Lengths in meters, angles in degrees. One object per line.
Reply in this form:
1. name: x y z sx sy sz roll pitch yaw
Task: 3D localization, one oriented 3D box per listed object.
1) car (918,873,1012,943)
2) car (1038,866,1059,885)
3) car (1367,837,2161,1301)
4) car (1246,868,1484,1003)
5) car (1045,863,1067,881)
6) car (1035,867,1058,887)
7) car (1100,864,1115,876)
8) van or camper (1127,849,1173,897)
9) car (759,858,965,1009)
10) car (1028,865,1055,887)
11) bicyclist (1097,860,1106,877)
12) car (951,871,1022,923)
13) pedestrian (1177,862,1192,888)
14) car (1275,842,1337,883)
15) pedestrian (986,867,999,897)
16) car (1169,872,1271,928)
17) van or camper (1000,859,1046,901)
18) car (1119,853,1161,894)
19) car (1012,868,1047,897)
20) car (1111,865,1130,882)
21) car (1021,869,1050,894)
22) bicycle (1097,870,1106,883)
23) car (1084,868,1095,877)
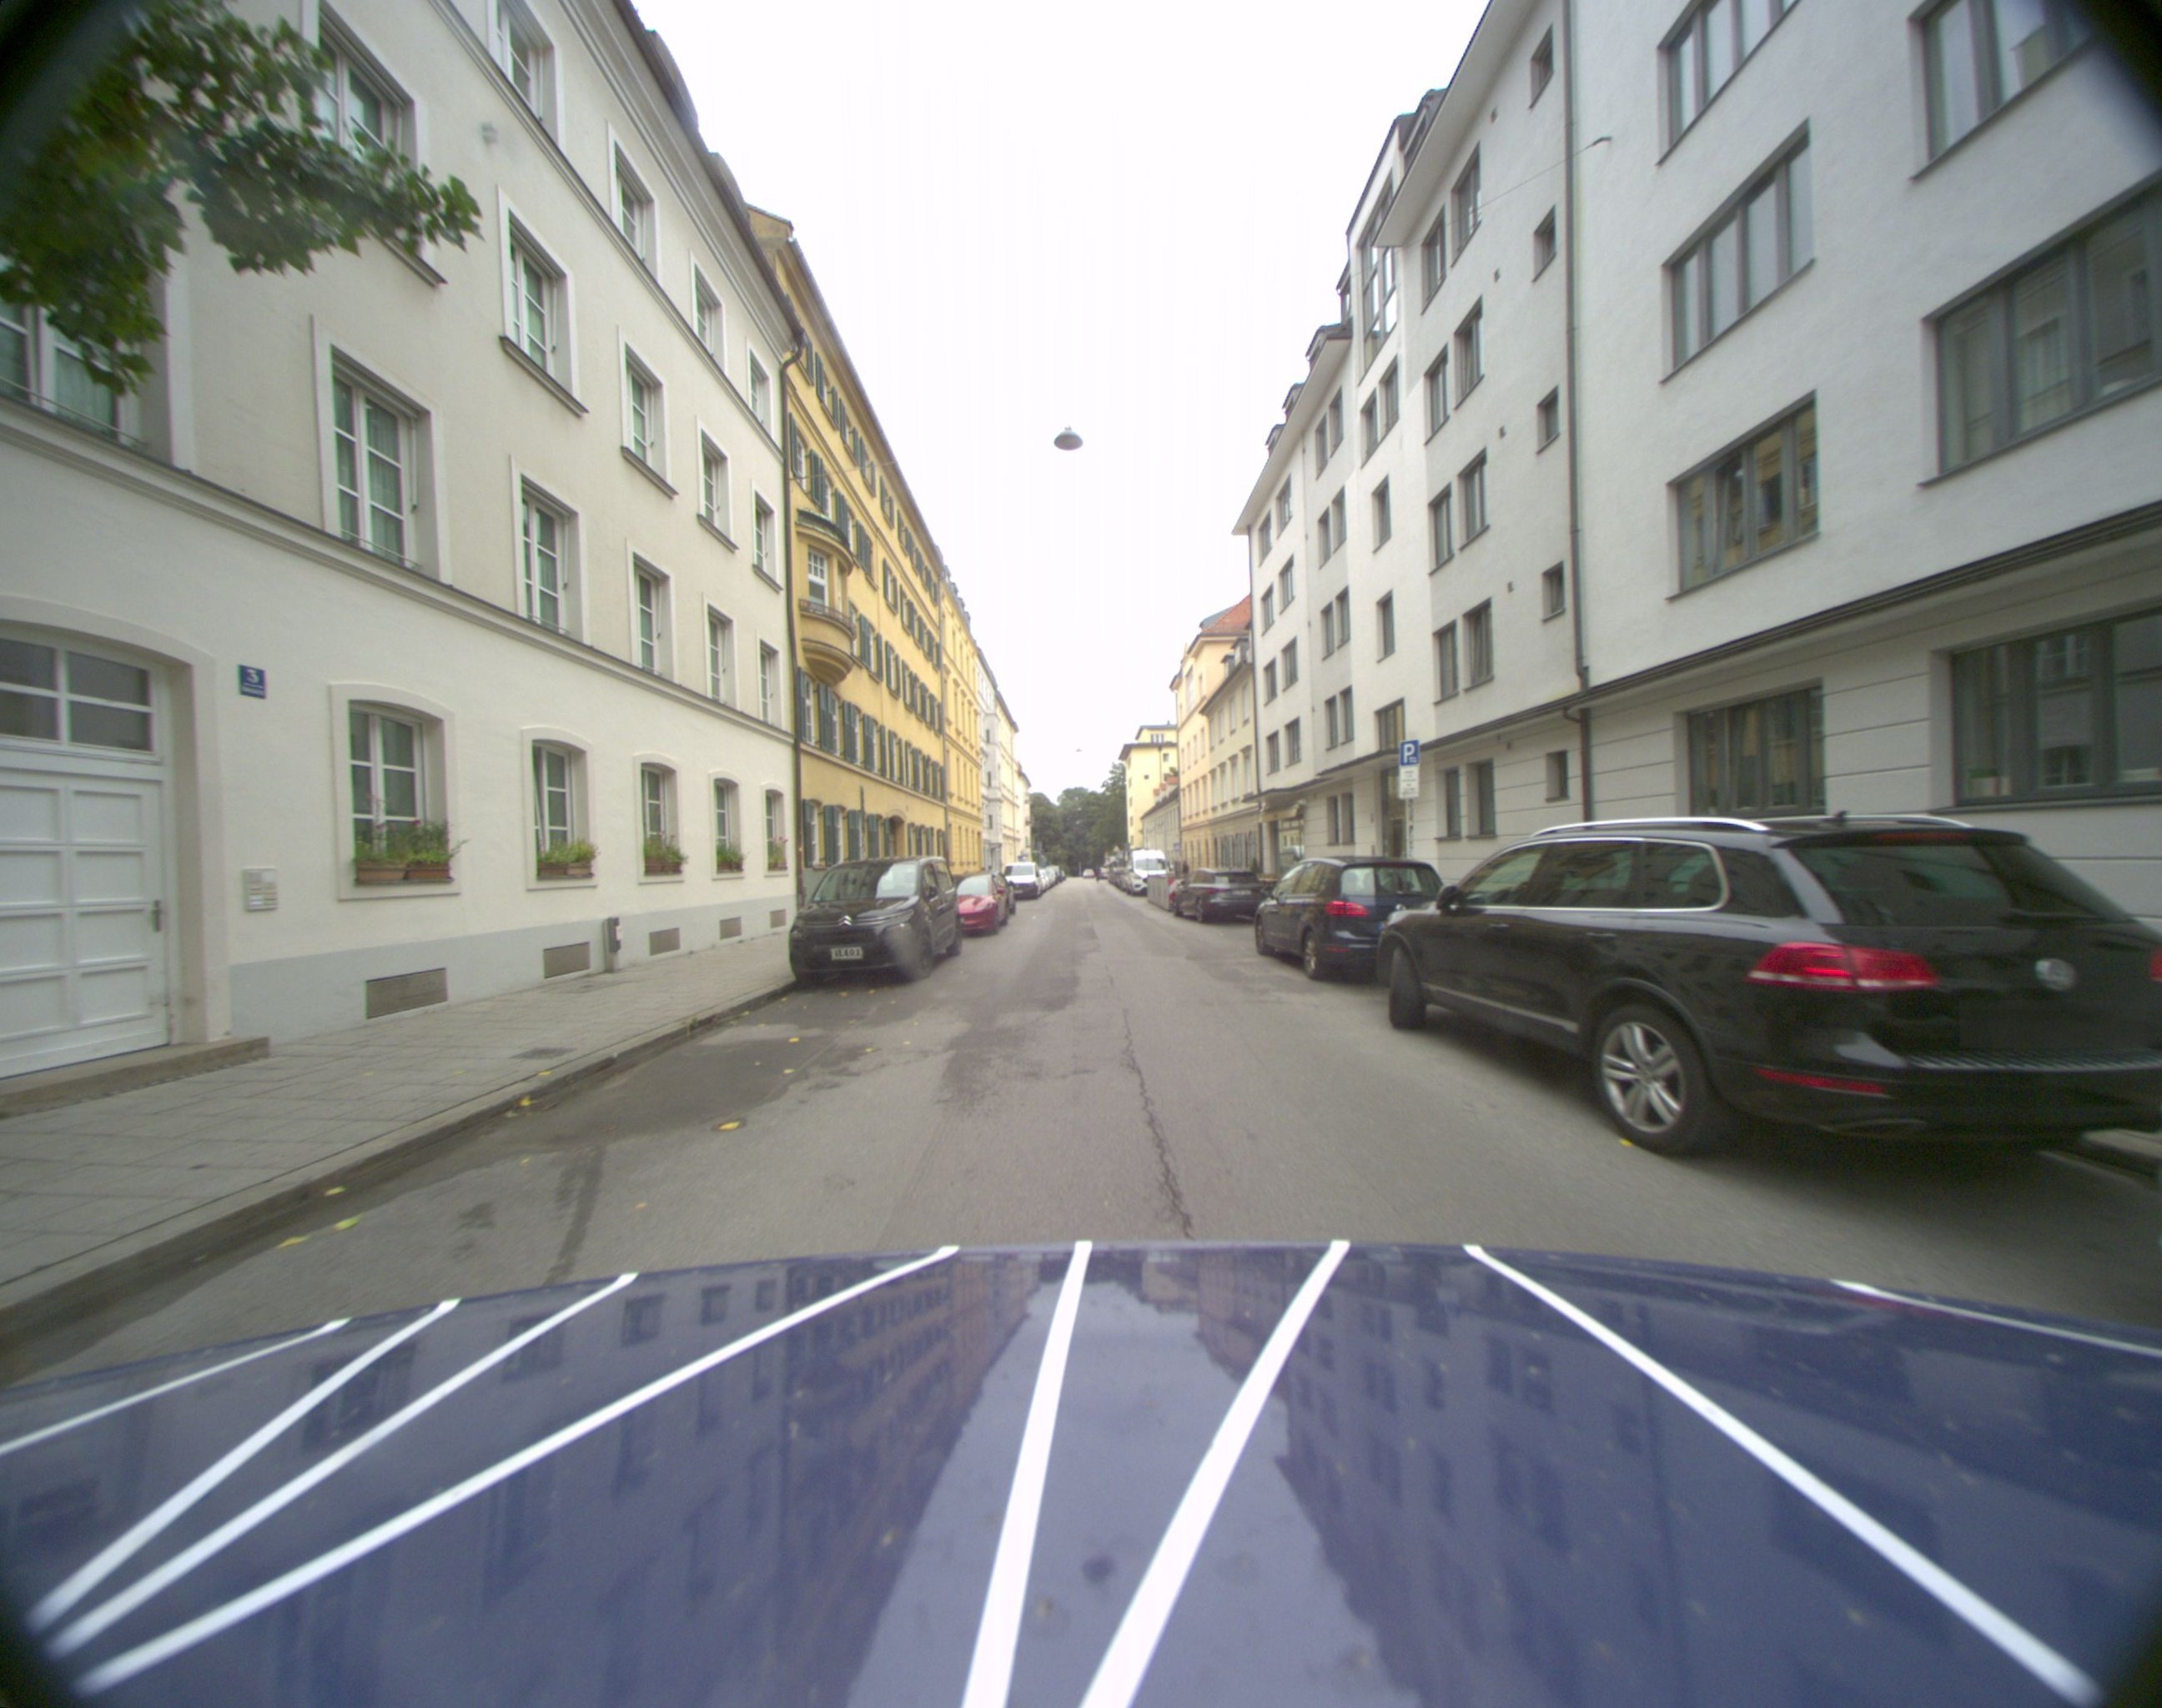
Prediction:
1. car: -2.747 1.240 18.934 1.718 1.415 4.457 -2 0 -1
2. car: -2.855 1.867 67.653 1.721 1.591 4.322 -1 0 -1
3. car: 3.702 0.820 5.039 1.877 1.678 4.520 0 -1 -1
4. car: 3.689 0.968 10.744 1.778 1.530 4.159 0 -1 -1
5. car: -2.727 1.999 84.009 1.998 1.849 5.115 -2 -1 2
6. car: -2.765 1.862 61.515 1.721 1.501 3.936 -2 -1 -1
7. car: 3.347 1.984 95.909 1.711 1.490 4.000 -2 -1 0
8. van or camper: 3.501 0.933 39.320 1.998 2.297 5.479 -1 0 1
9. car: -3.086 1.017 11.712 1.851 1.766 4.201 -4 0 0
10. car: -2.868 1.588 55.629 1.721 1.501 4.469 -2 -1 0
11. bicyclist: 1.974 1.367 72.923 0.688 1.617 0.853 -2 0 -1
12. car: -2.977 1.337 24.623 1.750 1.455 4.000 -2 -1 0
13. pedestrian: 6.901 1.411 50.792 0.807 1.701 1.022 -2 -1 1
14. car: 11.892 0.444 40.420 1.998 2.002 4.400 -3 0 1
15. pedestrian: -4.776 1.498 41.018 0.598 1.629 0.896 1 -1 -2
16. car: 3.654 1.164 20.713 1.644 1.346 4.057 0 -1 -6
17. van or camper: -2.926 1.296 39.432 1.999 2.001 5.233 -2 -1 -1
18. car: 3.412 1.095 44.623 1.862 2.188 4.561 -3 0 -1
19. car: -2.944 1.618 44.413 1.821 1.501 4.587 -1 -1 -2
20. car: 3.703 1.784 71.342 1.573 1.505 3.424 -2 -1 0
21. car: -2.889 1.731 49.091 1.627 1.501 3.761 -2 -1 -1
22. bicycle: 1.974 2.150 72.923 0.734 1.144 1.999 -2 -1 -1
23. car: 1.371 3.069 126.624 1.793 1.409 3.905 0 -1 0
